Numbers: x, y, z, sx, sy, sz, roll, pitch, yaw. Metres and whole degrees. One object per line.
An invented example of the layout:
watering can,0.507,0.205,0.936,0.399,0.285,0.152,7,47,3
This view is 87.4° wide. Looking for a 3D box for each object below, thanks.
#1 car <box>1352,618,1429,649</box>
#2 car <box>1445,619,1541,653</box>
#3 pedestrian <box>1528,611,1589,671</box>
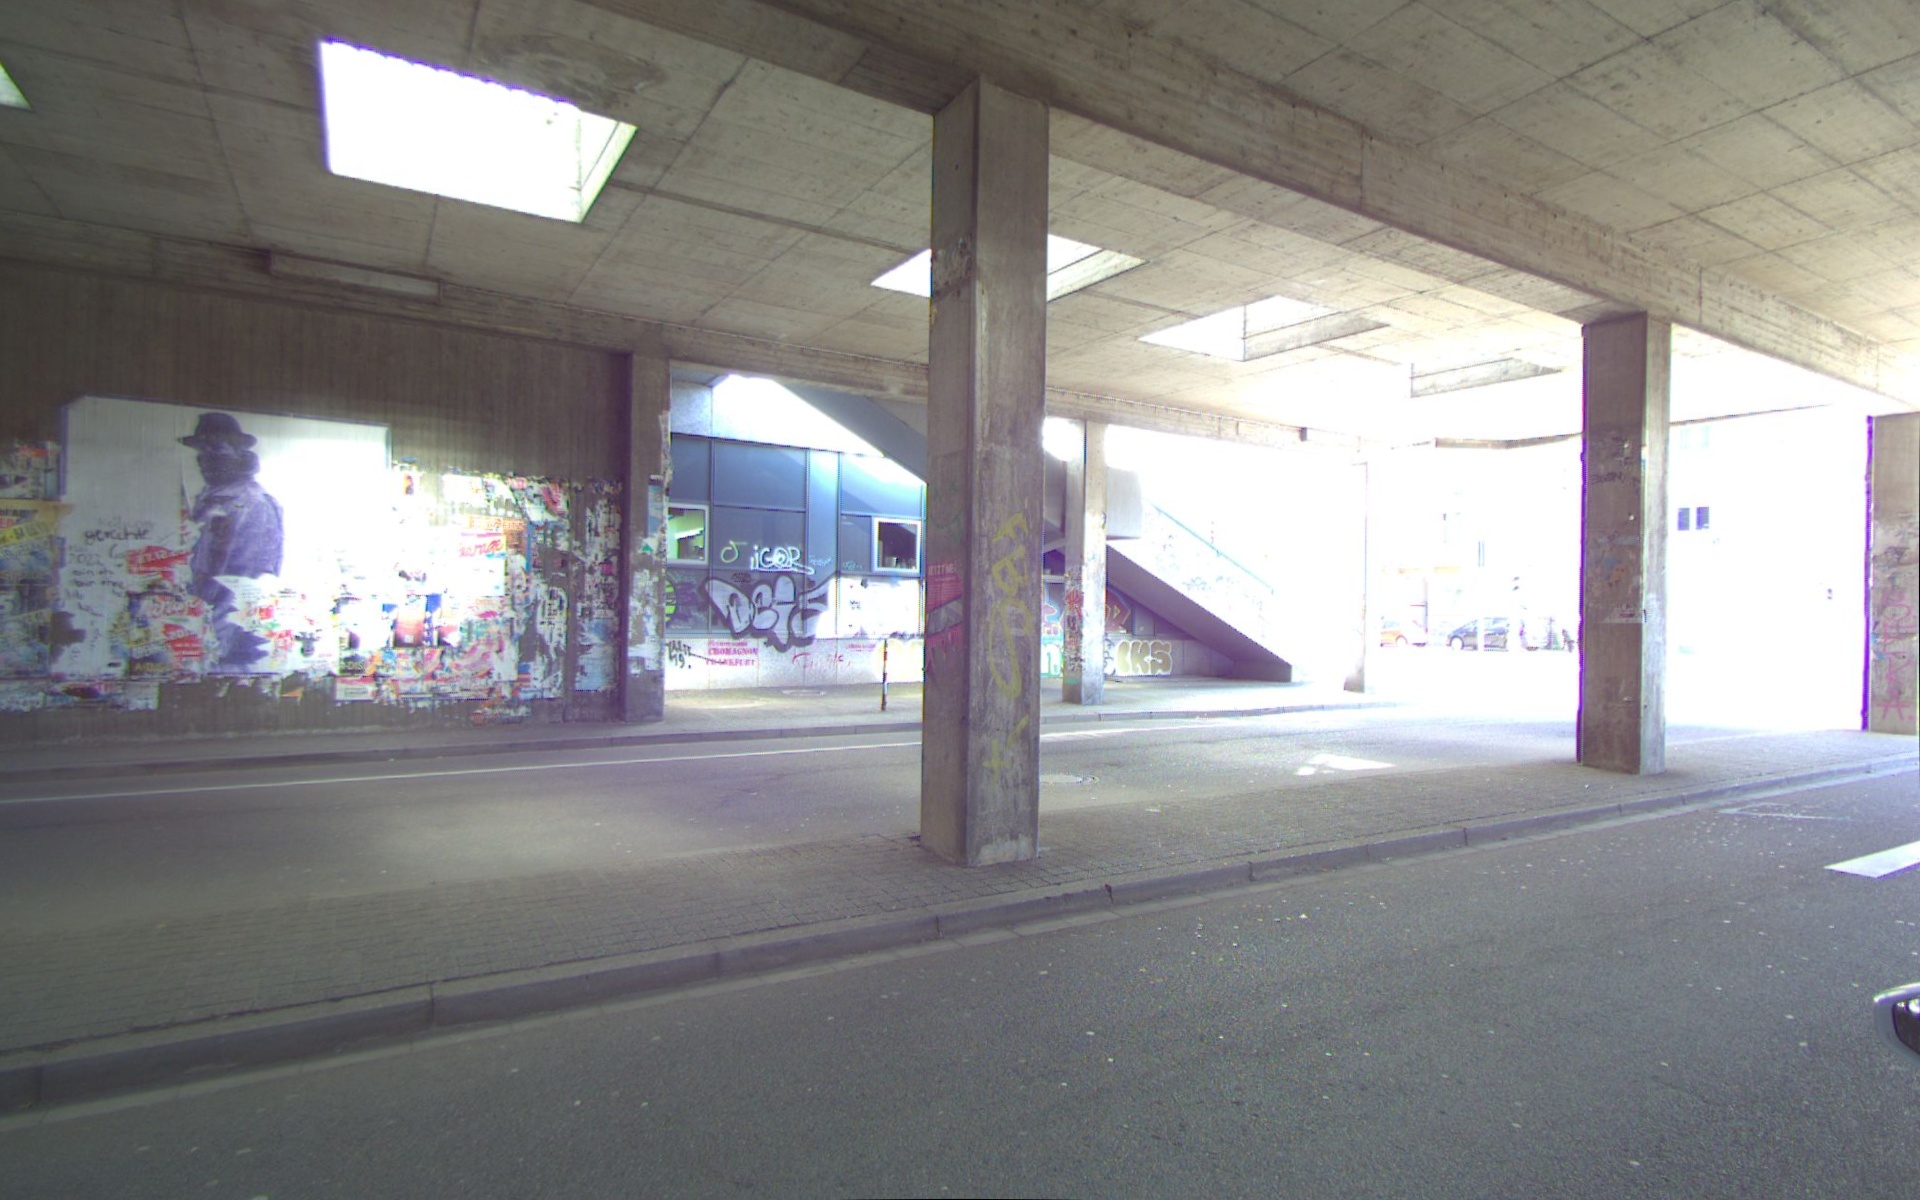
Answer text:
car,22.456,1.724,52.457,1.543,1.526,3.518,1,-1,-29
car,25.330,1.676,47.827,1.732,1.528,3.735,1,-1,-31
pedestrian,18.052,1.226,30.325,1.123,1.760,1.111,1,-1,-17
